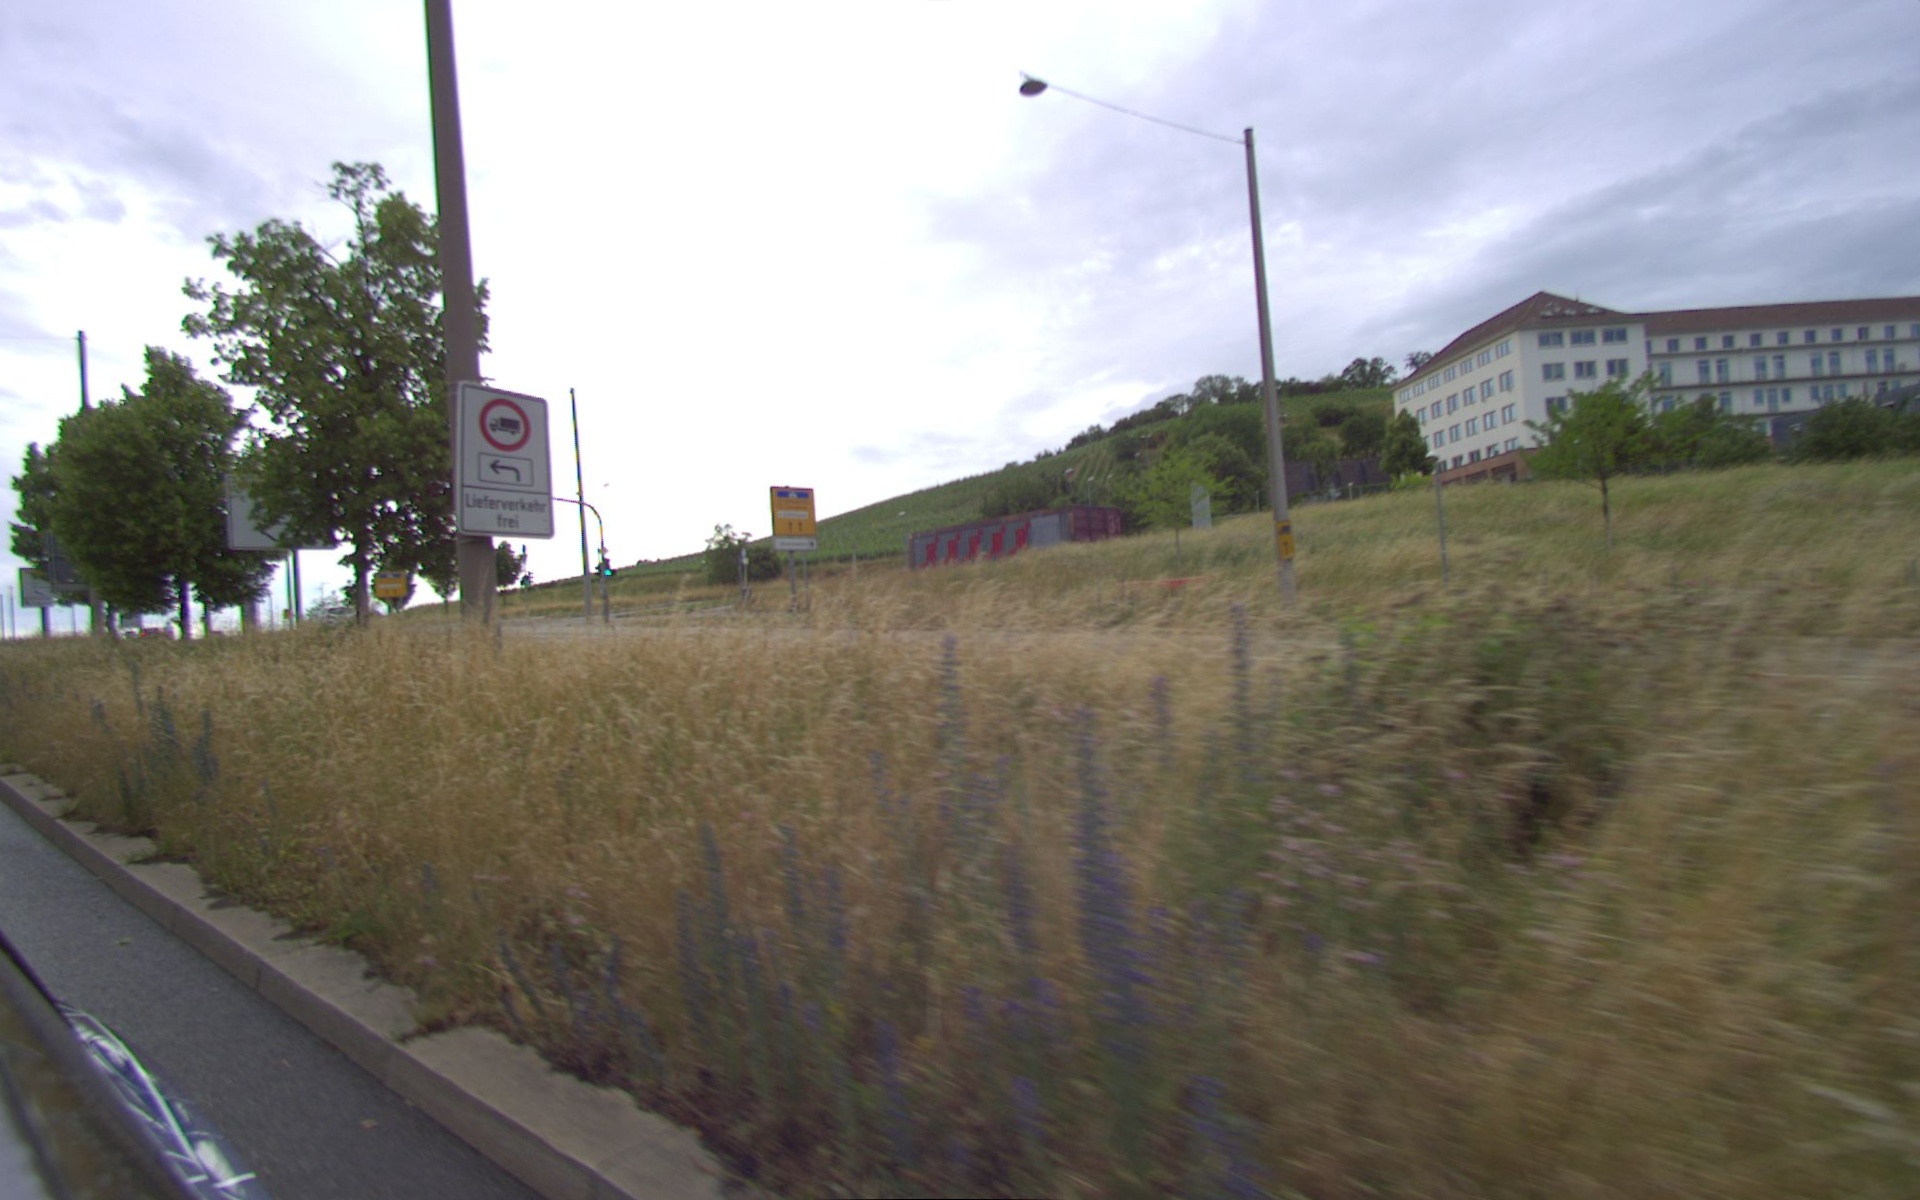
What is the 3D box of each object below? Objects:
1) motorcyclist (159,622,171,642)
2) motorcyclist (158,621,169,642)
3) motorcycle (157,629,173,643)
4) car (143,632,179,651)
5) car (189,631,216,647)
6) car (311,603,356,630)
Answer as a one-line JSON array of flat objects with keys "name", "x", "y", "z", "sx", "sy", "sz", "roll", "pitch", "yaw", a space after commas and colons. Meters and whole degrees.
[{"name": "motorcyclist", "x": -64.362, "y": 2.561, "z": 81.949, "sx": 0.582, "sy": 1.593, "sz": 0.605, "roll": -4, "pitch": -1, "yaw": 43}, {"name": "motorcyclist", "x": -64.945, "y": 2.575, "z": 82.505, "sx": 0.643, "sy": 1.608, "sz": 0.576, "roll": -4, "pitch": -1, "yaw": 43}, {"name": "motorcycle", "x": -64.606, "y": 2.909, "z": 82.200, "sx": 2.502, "sy": 1.058, "sz": 0.610, "roll": -4, "pitch": -1, "yaw": 43}, {"name": "car", "x": -71.555, "y": 3.709, "z": 90.721, "sx": 1.516, "sy": 1.515, "sz": 3.674, "roll": -2, "pitch": 1, "yaw": -22}, {"name": "car", "x": -77.602, "y": 4.032, "z": 103.697, "sx": 3.775, "sy": 1.474, "sz": 1.633, "roll": -4, "pitch": -1, "yaw": 44}, {"name": "car", "x": -35.095, "y": 0.900, "z": 56.649, "sx": 1.519, "sy": 1.399, "sz": 3.933, "roll": -2, "pitch": 1, "yaw": -41}]
